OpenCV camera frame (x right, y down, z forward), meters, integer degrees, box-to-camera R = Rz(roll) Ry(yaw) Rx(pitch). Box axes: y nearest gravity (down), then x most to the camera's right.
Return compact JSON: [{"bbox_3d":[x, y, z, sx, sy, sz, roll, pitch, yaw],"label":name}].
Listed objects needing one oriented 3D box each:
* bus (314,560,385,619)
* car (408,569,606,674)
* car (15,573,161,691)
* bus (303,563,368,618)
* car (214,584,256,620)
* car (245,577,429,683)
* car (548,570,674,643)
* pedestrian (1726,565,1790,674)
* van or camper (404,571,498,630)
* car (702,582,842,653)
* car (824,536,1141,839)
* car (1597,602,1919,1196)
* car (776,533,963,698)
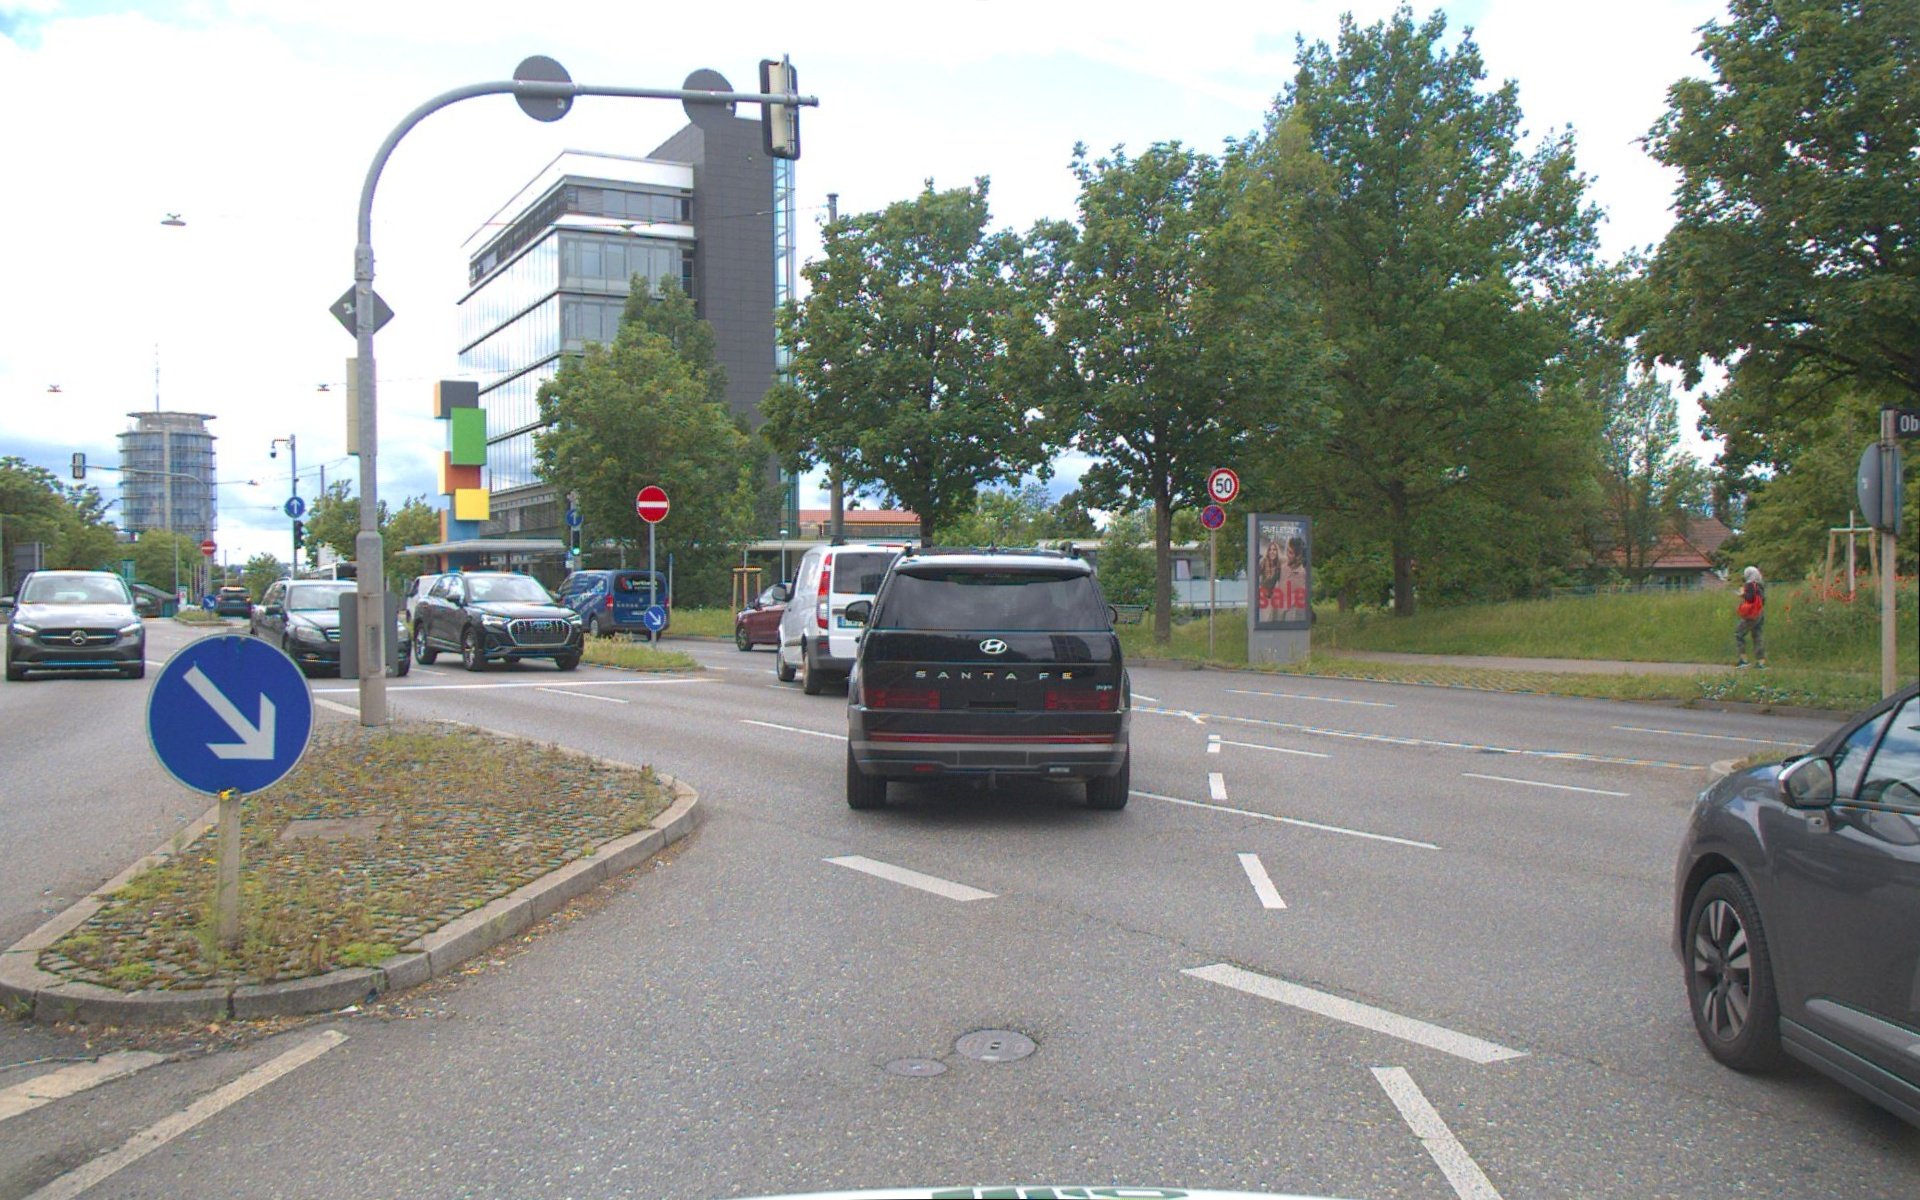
[{"bbox_3d":[-35.226,-0.576,95.270,2.930,3.171,9.168,-2,1,-25],"label":"bus"},{"bbox_3d":[-7.713,0.312,27.914,1.873,1.592,4.342,1,1,-35],"label":"car"},{"bbox_3d":[-12.959,0.415,24.729,1.762,1.564,4.358,1,1,-27],"label":"car"},{"bbox_3d":[-39.263,-0.557,103.798,2.916,3.165,9.894,-2,1,-25],"label":"bus"},{"bbox_3d":[-39.524,0.098,90.118,1.879,1.891,4.668,1,0,-27],"label":"car"},{"bbox_3d":[-9.722,0.408,25.600,1.767,1.450,4.345,1,1,-33],"label":"car"},{"bbox_3d":[-9.614,0.137,45.296,1.884,1.891,4.657,1,0,-32],"label":"car"},{"bbox_3d":[12.429,0.295,25.758,0.537,1.631,0.694,-6,4,-34],"label":"pedestrian"},{"bbox_3d":[-17.908,-0.008,58.028,1.976,1.951,4.356,0,1,-34],"label":"van or camper"},{"bbox_3d":[-4.290,0.359,37.323,1.728,1.507,3.677,0,0,-32],"label":"car"},{"bbox_3d":[0.356,0.504,12.024,1.862,1.762,4.449,1,0,6],"label":"car"},{"bbox_3d":[3.268,0.774,4.236,1.666,1.486,4.062,1,0,-1],"label":"car"},{"bbox_3d":[-1.348,0.183,22.548,1.868,2.003,4.622,1,0,-12],"label":"car"}]
